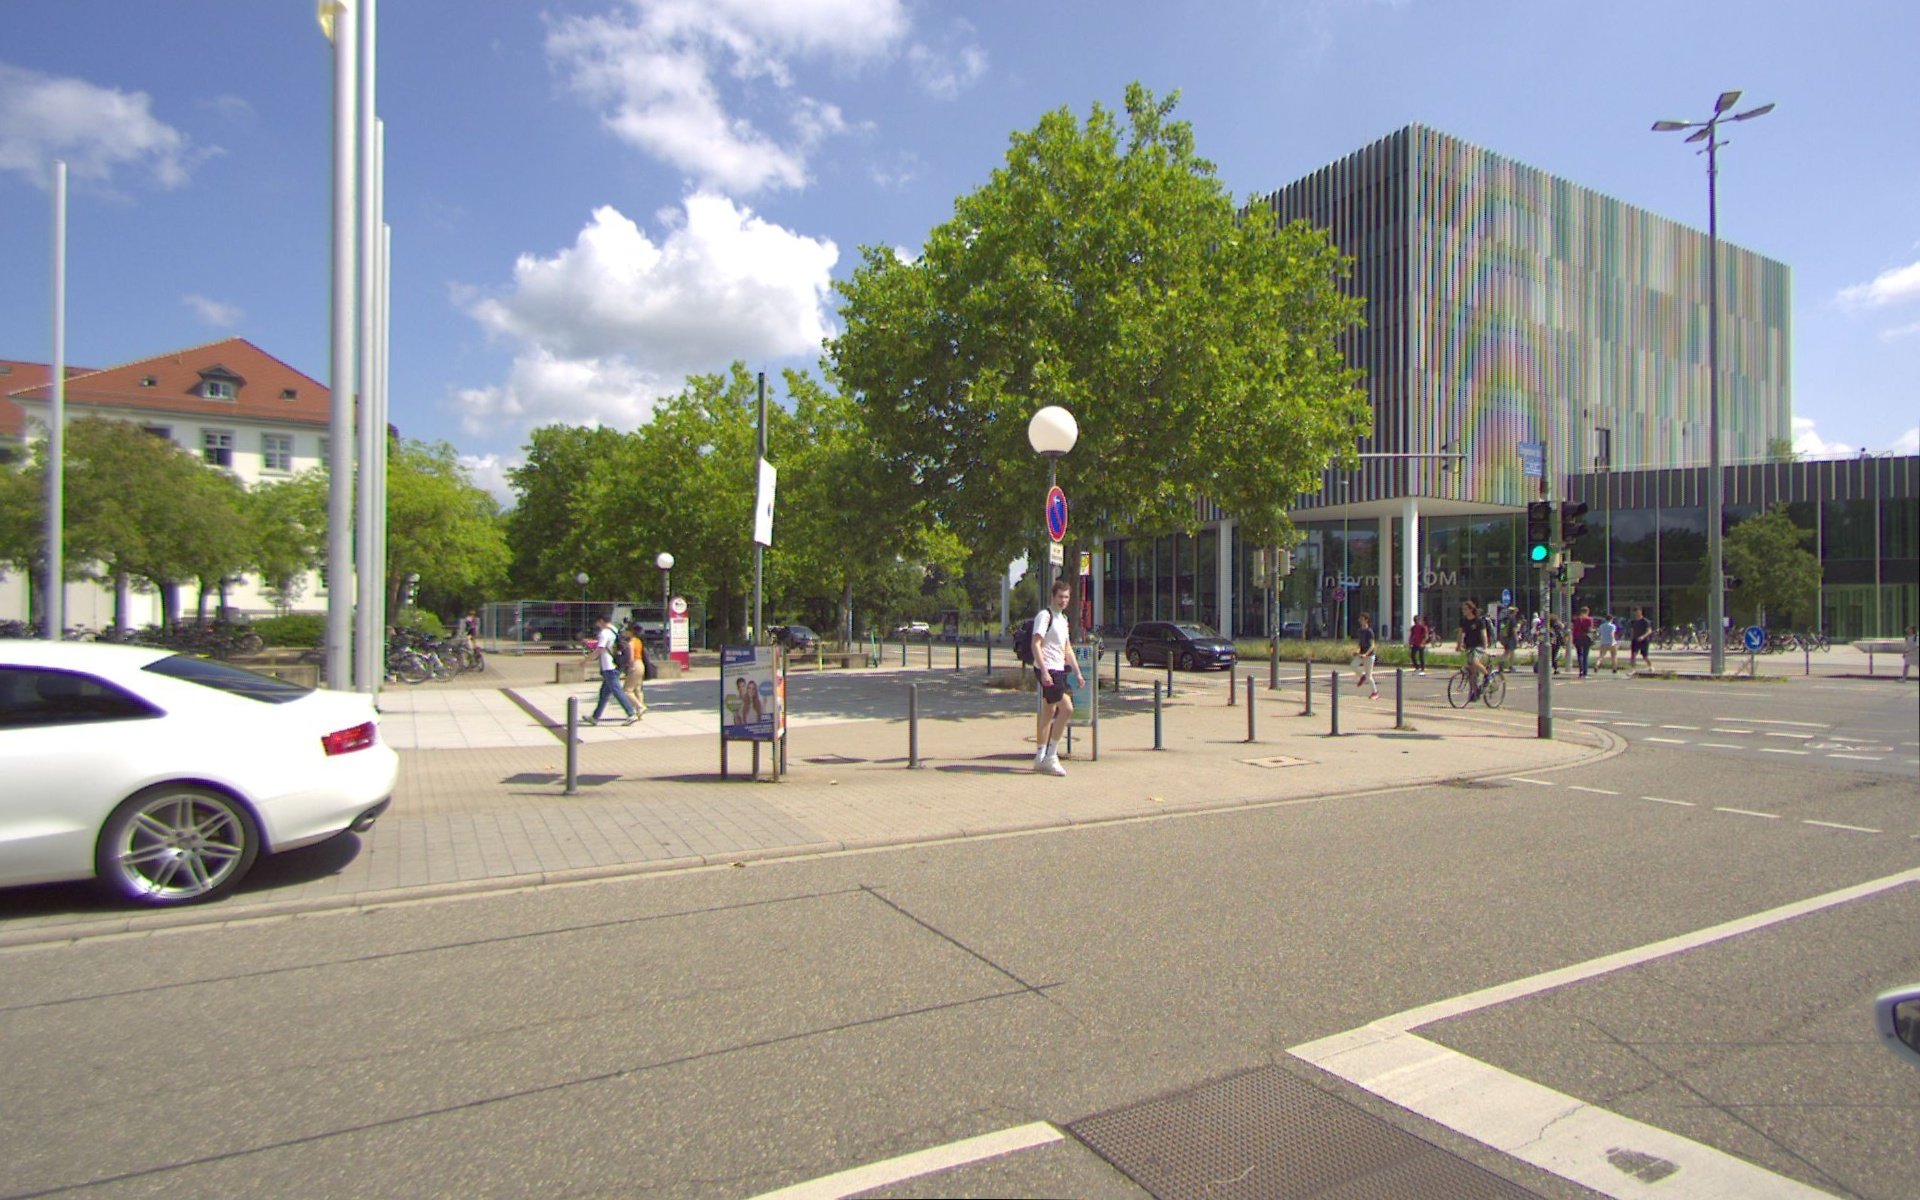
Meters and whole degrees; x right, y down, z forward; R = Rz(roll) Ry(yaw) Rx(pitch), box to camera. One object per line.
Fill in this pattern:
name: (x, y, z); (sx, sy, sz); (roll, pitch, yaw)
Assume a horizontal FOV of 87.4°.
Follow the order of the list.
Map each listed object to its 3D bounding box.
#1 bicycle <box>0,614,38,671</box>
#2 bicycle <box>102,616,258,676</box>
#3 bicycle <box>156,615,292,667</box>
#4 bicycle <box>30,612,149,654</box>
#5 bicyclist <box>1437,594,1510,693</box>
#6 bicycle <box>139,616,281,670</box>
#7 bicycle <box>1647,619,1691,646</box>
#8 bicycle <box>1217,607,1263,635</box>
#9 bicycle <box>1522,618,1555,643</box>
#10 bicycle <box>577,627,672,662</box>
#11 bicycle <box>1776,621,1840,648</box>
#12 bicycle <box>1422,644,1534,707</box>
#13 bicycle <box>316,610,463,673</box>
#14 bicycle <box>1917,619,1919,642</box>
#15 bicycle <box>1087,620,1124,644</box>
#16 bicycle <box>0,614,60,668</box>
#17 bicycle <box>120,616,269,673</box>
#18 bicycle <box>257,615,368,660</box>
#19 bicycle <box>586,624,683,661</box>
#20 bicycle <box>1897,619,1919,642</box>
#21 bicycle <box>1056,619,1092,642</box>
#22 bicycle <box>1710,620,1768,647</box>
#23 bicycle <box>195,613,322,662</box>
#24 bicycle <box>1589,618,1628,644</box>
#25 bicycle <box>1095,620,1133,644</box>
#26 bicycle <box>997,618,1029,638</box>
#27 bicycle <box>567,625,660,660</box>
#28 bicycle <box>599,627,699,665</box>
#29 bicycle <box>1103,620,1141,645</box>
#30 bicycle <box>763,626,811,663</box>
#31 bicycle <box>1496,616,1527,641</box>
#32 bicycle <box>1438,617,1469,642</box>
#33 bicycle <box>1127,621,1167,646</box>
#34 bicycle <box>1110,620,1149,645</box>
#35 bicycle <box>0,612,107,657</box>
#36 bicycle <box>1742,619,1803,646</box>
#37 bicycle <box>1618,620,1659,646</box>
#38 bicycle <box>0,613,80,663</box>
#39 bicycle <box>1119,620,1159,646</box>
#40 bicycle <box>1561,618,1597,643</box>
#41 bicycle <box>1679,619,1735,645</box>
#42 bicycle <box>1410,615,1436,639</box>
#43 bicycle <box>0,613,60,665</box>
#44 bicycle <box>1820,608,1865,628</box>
bicycle: (-25.795, 1.074, 25.804); (2.905, 1.430, 1.061); (1, -1, -19)
bicycle: (-19.698, 1.151, 25.459); (2.908, 1.430, 1.060); (1, -1, -22)
bicycle: (-20.933, 1.168, 28.658); (2.908, 1.430, 1.060); (1, -1, -22)
bicycle: (-30.116, 1.135, 34.816); (2.908, 1.430, 1.060); (1, -1, -22)
bicyclist: (9.805, 0.811, 19.195); (0.984, 1.841, 0.789); (0, -1, -19)
bicycle: (-20.536, 1.167, 27.591); (2.908, 1.430, 1.060); (1, -1, -22)
bicycle: (35.483, 1.610, 50.307); (1.178, 1.253, 2.950); (0, -1, 23)
bicycle: (18.674, 1.398, 67.012); (2.906, 1.863, 1.013); (1, -1, -20)
bicycle: (30.094, 1.556, 52.274); (1.178, 1.253, 2.949); (0, -1, 24)
bicycle: (-11.467, 1.501, 34.365); (2.924, 1.152, 0.991); (1, -1, -37)
bicycle: (40.197, 1.614, 47.655); (1.177, 1.253, 2.953); (1, -1, 15)
bicycle: (9.924, 1.428, 19.247); (1.995, 1.137, 0.769); (0, -1, -20)
bicycle: (-13.416, 0.968, 23.753); (2.911, 1.438, 1.011); (1, -1, -25)
bicycle: (67.740, 2.138, 68.833); (2.909, 1.595, 1.116); (0, -1, 24)
bicycle: (11.507, 2.508, 79.326); (2.914, 1.863, 0.955); (1, -1, -28)
bicycle: (-26.155, 1.083, 26.853); (2.905, 1.430, 1.061); (1, -1, -19)
bicycle: (-20.141, 1.159, 26.534); (2.908, 1.430, 1.060); (1, -1, -22)
bicycle: (-21.389, 1.231, 33.282); (2.908, 1.430, 1.060); (1, -1, -22)
bicycle: (-10.804, 1.390, 33.444); (2.924, 1.163, 0.991); (1, -1, -37)
bicycle: (68.383, 2.175, 70.998); (2.909, 1.595, 1.116); (0, -1, 24)
bicycle: (9.471, 2.534, 83.361); (2.915, 1.863, 0.981); (1, -1, -29)
bicycle: (37.925, 1.624, 48.961); (1.177, 1.253, 2.953); (1, -1, 15)
bicycle: (-20.848, 1.112, 29.935); (2.908, 1.430, 1.060); (1, -1, -22)
bicycle: (33.199, 1.563, 51.466); (1.178, 1.253, 2.949); (0, -1, 24)
bicycle: (12.009, 2.502, 78.363); (2.913, 1.863, 0.956); (1, -1, -28)
bicycle: (4.845, 2.566, 91.847); (2.915, 1.863, 0.955); (1, -1, -29)
bicycle: (-12.145, 1.491, 35.276); (2.925, 1.165, 0.990); (1, -1, -38)
bicycle: (-9.987, 1.466, 32.314); (2.924, 1.163, 0.991); (1, -1, -37)
bicycle: (12.475, 2.496, 77.444); (2.913, 1.863, 0.956); (1, -1, -27)
bicycle: (-5.730, 1.459, 33.160); (0.657, 1.128, 2.595); (1, -1, -31)
bicycle: (28.937, 1.504, 52.762); (1.178, 1.253, 2.949); (0, -1, 24)
bicycle: (26.341, 1.548, 53.673); (1.351, 1.253, 2.949); (0, -1, 24)
bicycle: (13.884, 2.477, 74.514); (2.912, 1.863, 0.956); (1, -1, -26)
bicycle: (12.920, 2.489, 76.472); (2.913, 1.863, 0.956); (1, -1, -27)
bicycle: (-29.662, 1.111, 32.497); (2.908, 1.430, 1.060); (1, -1, -22)
bicycle: (39.073, 1.536, 48.354); (1.177, 1.253, 2.953); (1, -1, 15)
bicycle: (34.372, 1.642, 50.919); (1.178, 1.253, 2.949); (0, -1, 24)
bicycle: (-27.871, 1.094, 29.434); (2.905, 1.430, 1.061); (1, -1, -19)
bicycle: (13.450, 2.483, 75.482); (2.912, 1.863, 0.956); (1, -1, -26)
bicycle: (32.032, 1.573, 51.988); (1.178, 1.253, 2.949); (0, -1, 24)
bicycle: (36.669, 1.551, 49.375); (1.177, 1.253, 2.953); (1, -1, 15)
bicycle: (25.038, 1.448, 54.381); (1.178, 1.253, 2.950); (0, -1, 23)
bicycle: (-27.518, 1.085, 28.379); (2.905, 1.430, 1.061); (1, -1, -19)
bicycle: (74.069, 1.530, 84.333); (2.908, 1.595, 1.118); (1, 0, -3)
